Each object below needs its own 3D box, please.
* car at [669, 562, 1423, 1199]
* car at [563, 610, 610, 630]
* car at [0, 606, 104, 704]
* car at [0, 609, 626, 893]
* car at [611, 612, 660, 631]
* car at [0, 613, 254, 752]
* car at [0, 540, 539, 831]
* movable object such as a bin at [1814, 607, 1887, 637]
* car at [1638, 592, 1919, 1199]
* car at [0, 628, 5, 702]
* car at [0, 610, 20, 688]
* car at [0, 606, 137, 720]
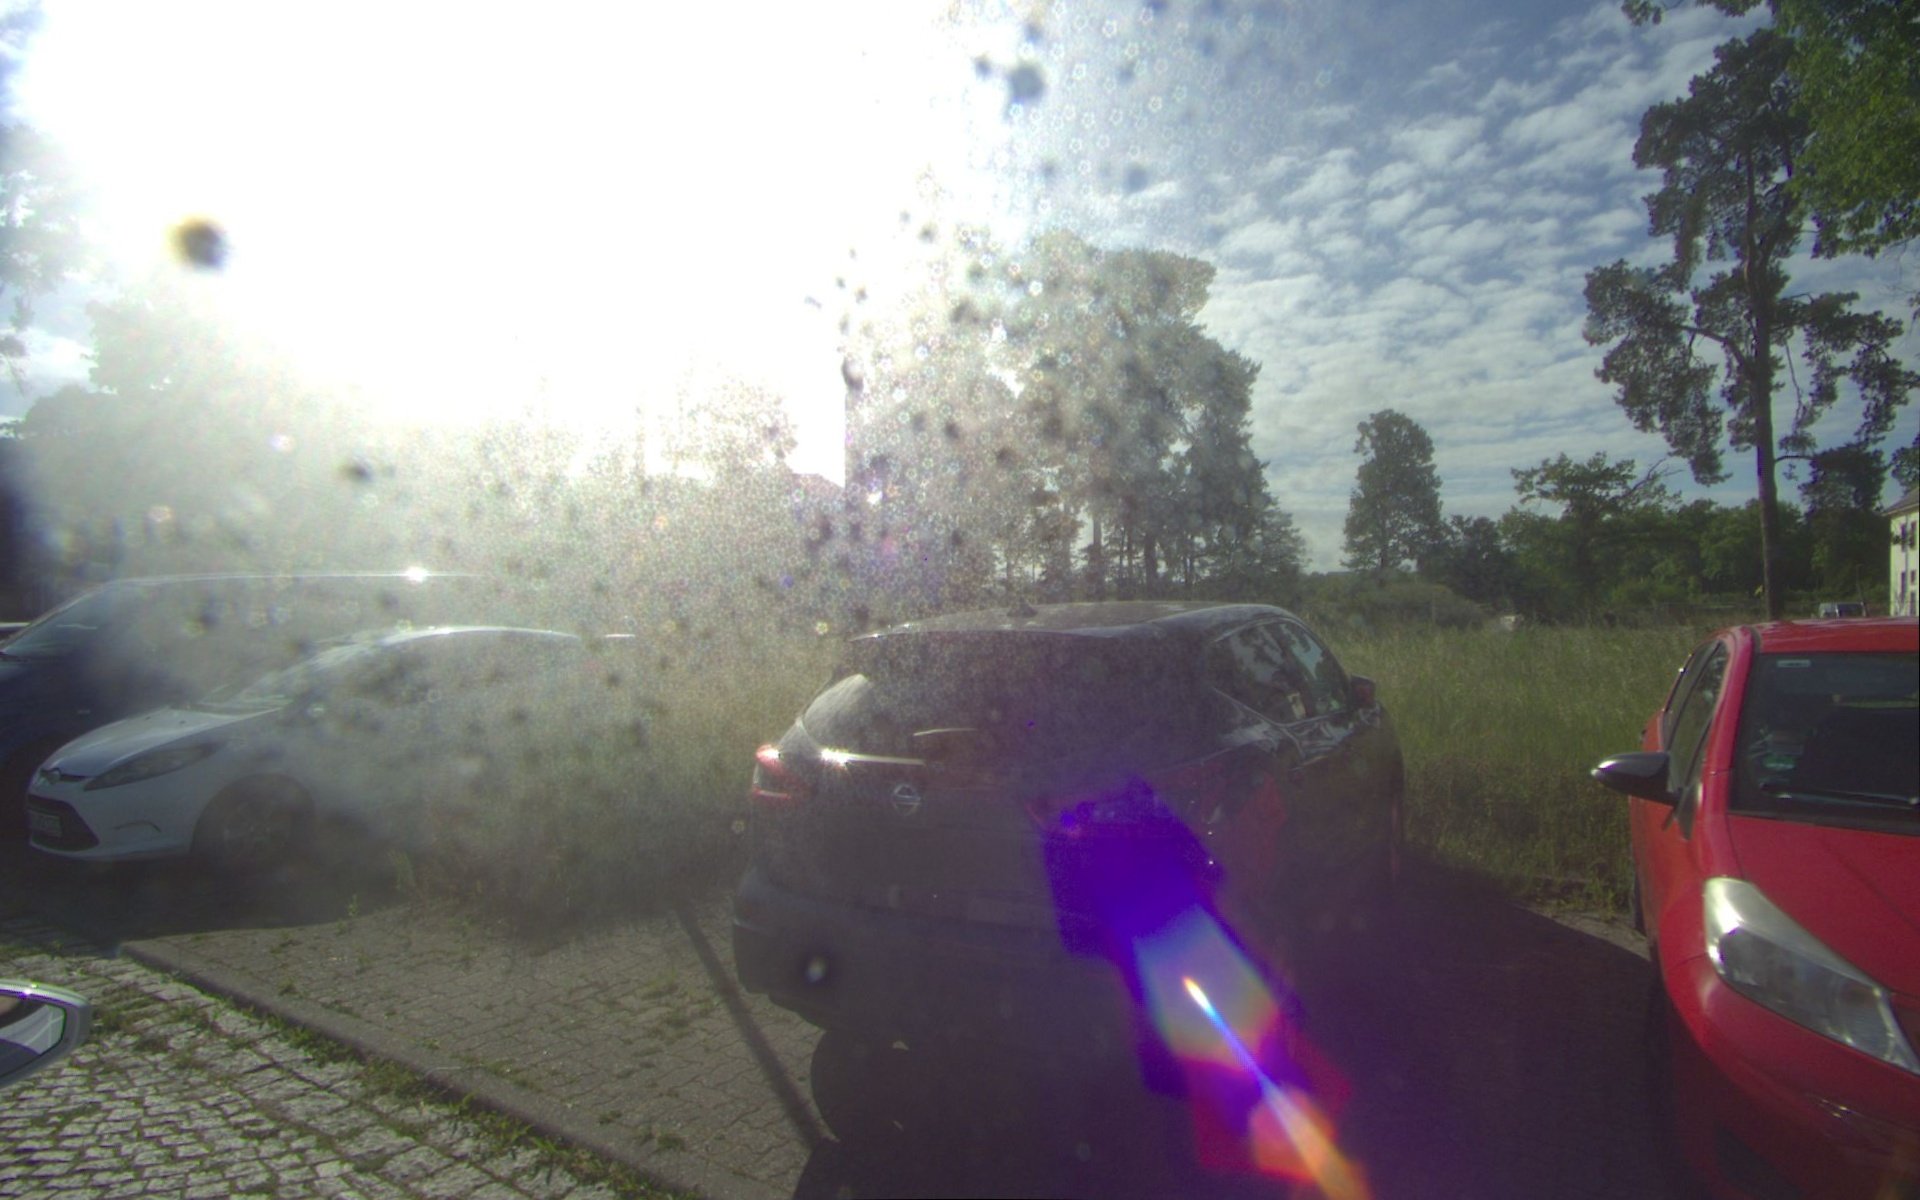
[{"bbox_3d":[0.877,0.741,4.466,1.760,1.632,4.100,0,0,31],"label":"car"},{"bbox_3d":[-33.198,1.768,89.024,1.743,1.693,3.626,0,0,35],"label":"car"},{"bbox_3d":[-15.642,0.871,15.214,1.643,1.474,3.654,0,1,32],"label":"car"},{"bbox_3d":[-4.530,0.849,7.519,1.586,1.486,3.714,0,1,30],"label":"car"},{"bbox_3d":[-27.348,1.781,84.386,1.743,1.517,3.626,0,-1,35],"label":"car"},{"bbox_3d":[-10.882,0.924,11.993,1.611,1.511,3.637,0,0,33],"label":"car"},{"bbox_3d":[-6.572,0.562,9.134,1.972,2.041,4.742,0,1,32],"label":"car"},{"bbox_3d":[63.167,1.489,71.173,2.087,2.040,5.723,0,0,22],"label":"movable object such as a bin"},{"bbox_3d":[3.239,0.753,3.178,1.679,1.559,3.816,0,0,33],"label":"car"},{"bbox_3d":[-18.012,1.101,16.206,1.515,1.258,3.453,0,-1,33],"label":"car"},{"bbox_3d":[-19.728,0.947,17.901,1.631,1.468,3.971,0,0,32],"label":"car"},{"bbox_3d":[-13.525,0.852,13.217,1.733,1.470,3.770,0,1,34],"label":"car"}]
